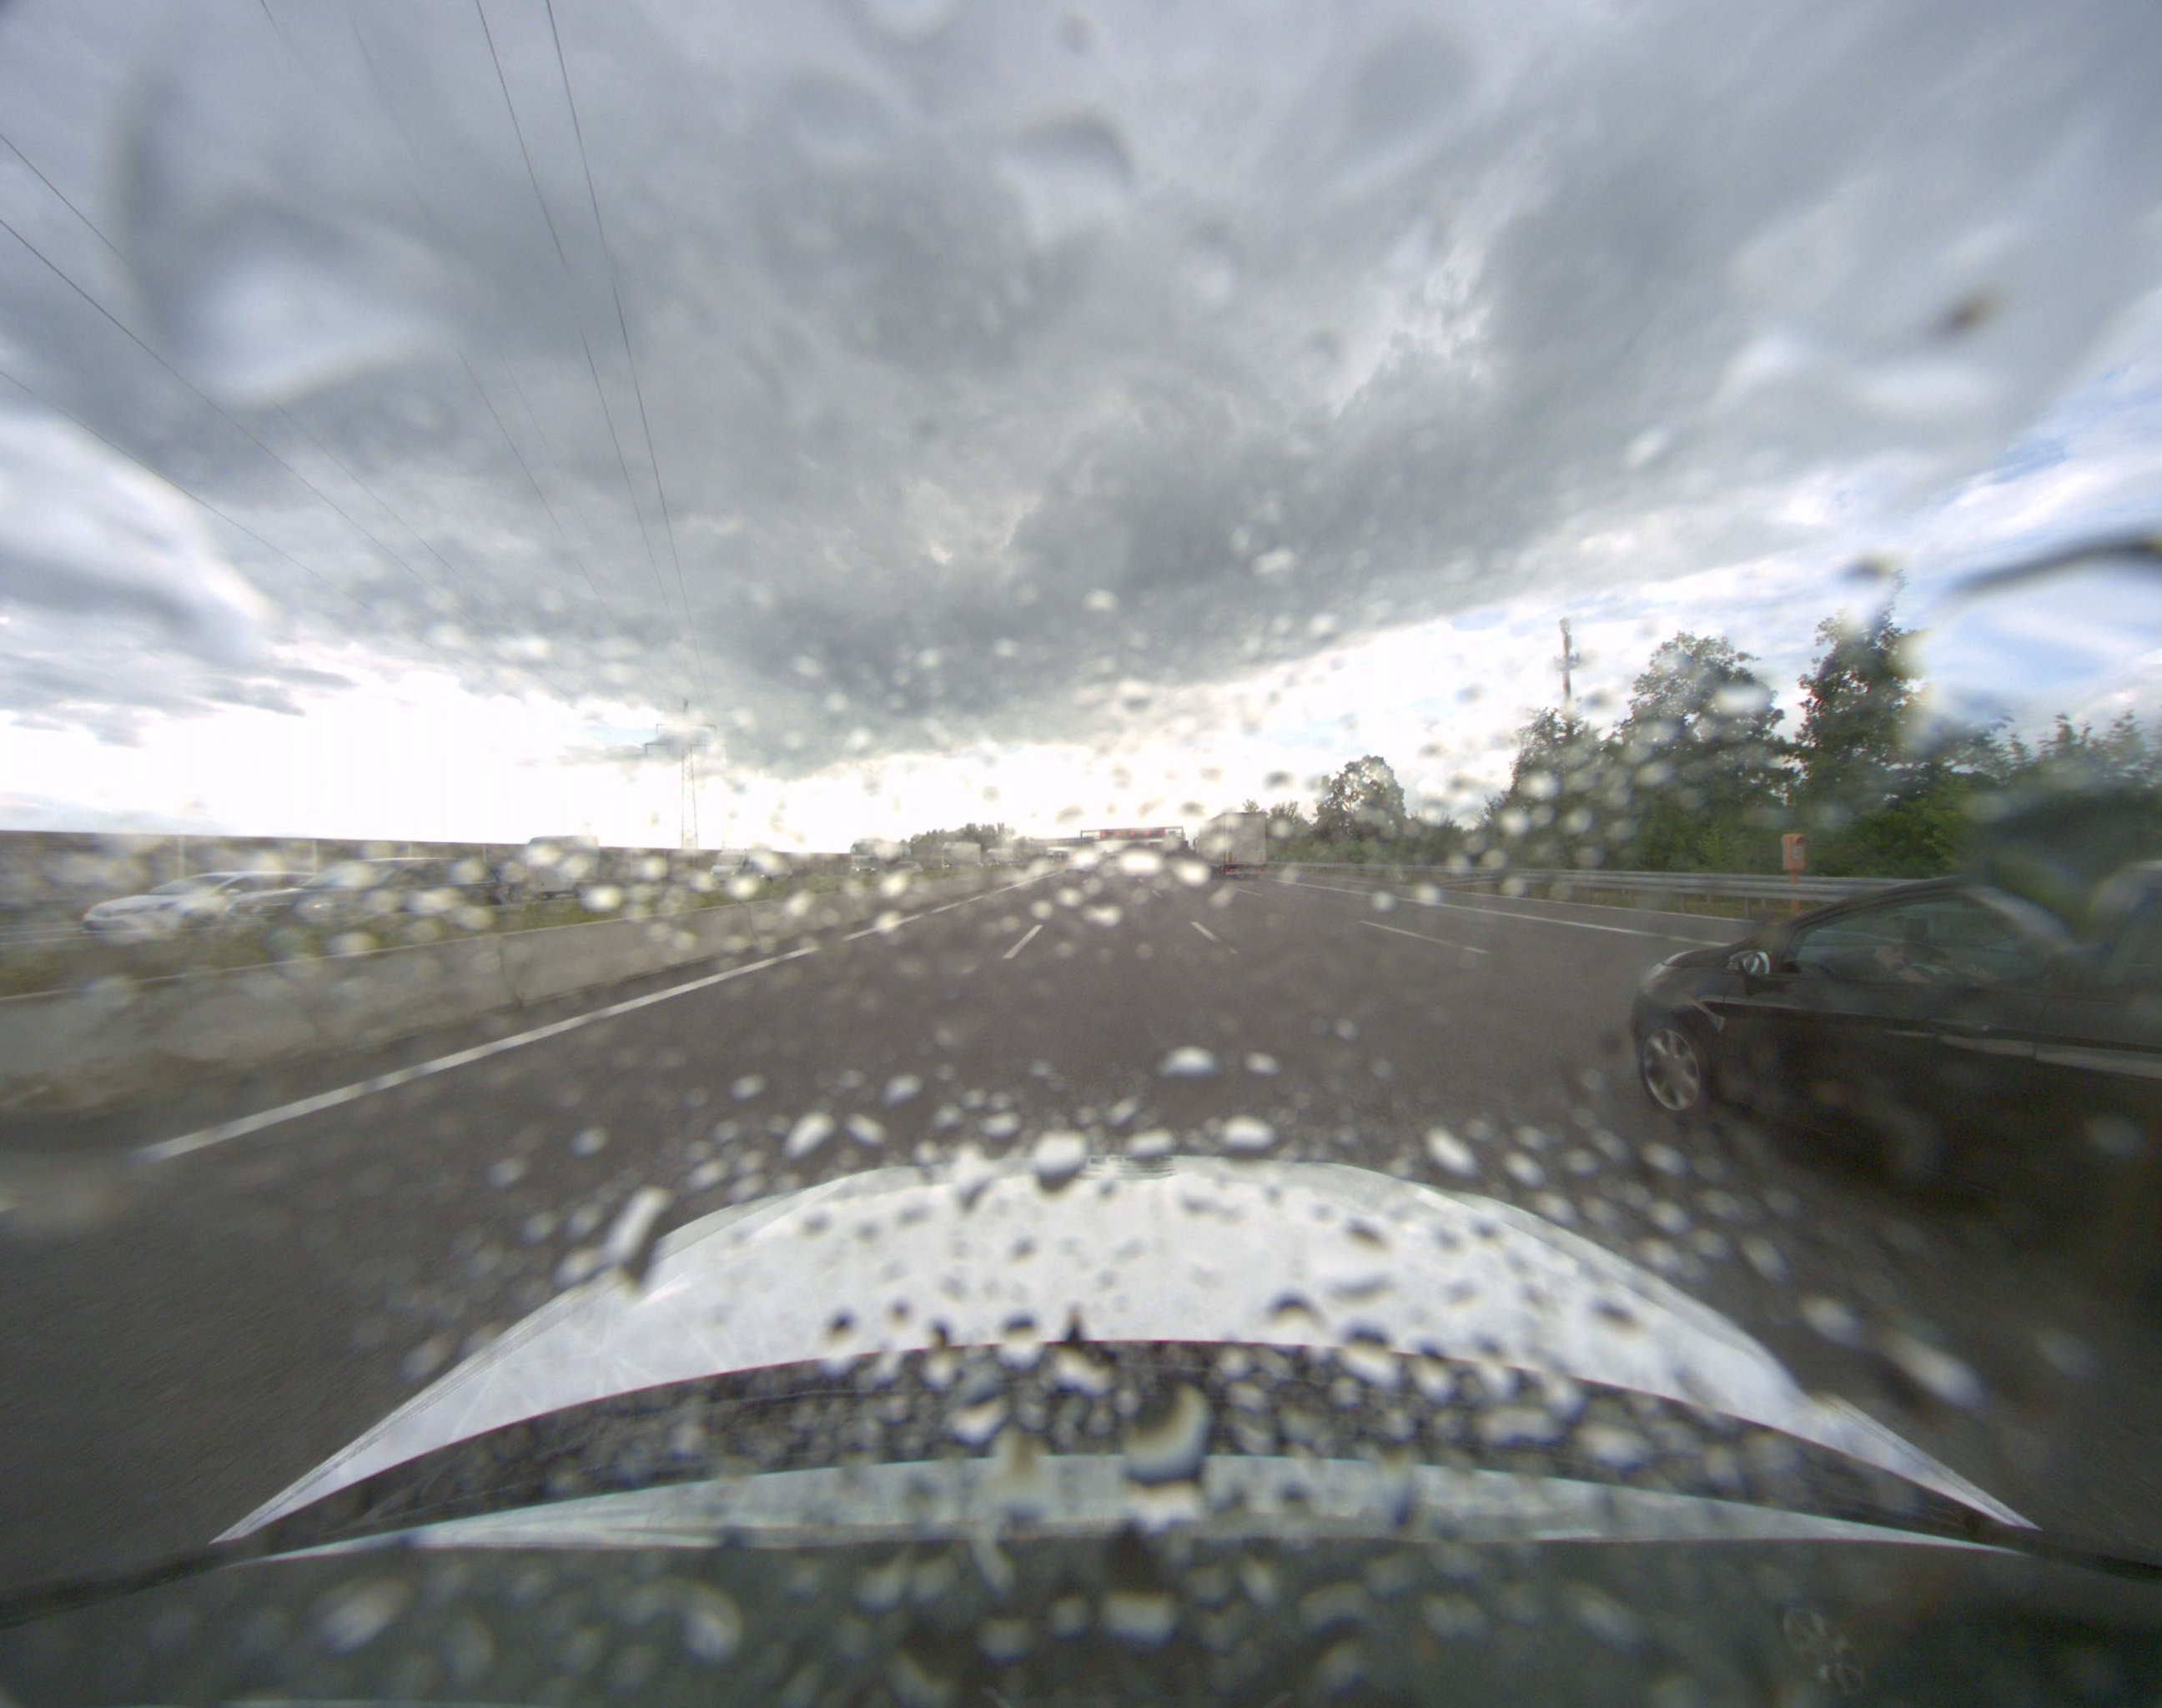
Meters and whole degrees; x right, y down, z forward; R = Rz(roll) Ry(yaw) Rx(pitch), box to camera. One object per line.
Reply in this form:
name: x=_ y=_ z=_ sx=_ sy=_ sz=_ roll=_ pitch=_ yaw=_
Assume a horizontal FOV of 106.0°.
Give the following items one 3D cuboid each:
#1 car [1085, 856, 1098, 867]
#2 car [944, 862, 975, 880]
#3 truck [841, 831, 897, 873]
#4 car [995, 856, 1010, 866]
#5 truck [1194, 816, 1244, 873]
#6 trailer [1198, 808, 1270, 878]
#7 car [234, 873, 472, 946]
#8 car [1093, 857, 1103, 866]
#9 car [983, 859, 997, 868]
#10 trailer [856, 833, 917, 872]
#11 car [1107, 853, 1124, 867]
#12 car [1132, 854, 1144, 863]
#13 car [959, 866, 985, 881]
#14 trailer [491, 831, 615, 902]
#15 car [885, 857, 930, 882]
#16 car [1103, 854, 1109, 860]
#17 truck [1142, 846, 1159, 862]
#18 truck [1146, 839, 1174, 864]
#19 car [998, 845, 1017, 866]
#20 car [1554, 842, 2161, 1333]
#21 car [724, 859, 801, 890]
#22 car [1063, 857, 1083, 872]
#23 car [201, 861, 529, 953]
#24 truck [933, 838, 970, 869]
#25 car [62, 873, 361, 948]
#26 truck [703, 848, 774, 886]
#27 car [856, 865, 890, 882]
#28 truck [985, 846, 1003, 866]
car: x=1.501 y=0.991 z=112.393 sx=1.766 sy=1.441 sz=4.056 roll=-1 pitch=0 yaw=1
car: x=-13.957 y=1.946 z=94.198 sx=2.270 sy=1.968 sz=6.092 roll=0 pitch=0 yaw=4
truck: x=-22.736 y=-0.198 z=87.838 sx=3.646 sy=4.319 sz=8.241 roll=0 pitch=0 yaw=2
car: x=-12.213 y=1.051 z=127.467 sx=1.781 sy=1.562 sz=4.566 roll=0 pitch=0 yaw=1
truck: x=10.257 y=-0.664 z=61.171 sx=2.949 sy=4.020 sz=6.594 roll=-1 pitch=0 yaw=3
trailer: x=9.894 y=-0.640 z=54.374 sx=2.948 sy=4.020 sz=14.130 roll=-1 pitch=0 yaw=3
car: x=-16.941 y=1.224 z=19.296 sx=1.759 sy=1.454 sz=4.234 roll=0 pitch=0 yaw=1
car: x=3.182 y=1.370 z=150.397 sx=1.766 sy=1.441 sz=4.055 roll=-1 pitch=0 yaw=1
car: x=-15.712 y=1.611 z=140.169 sx=1.781 sy=1.591 sz=4.387 roll=0 pitch=0 yaw=2
trailer: x=-22.487 y=-0.143 z=95.147 sx=3.646 sy=4.237 sz=12.473 roll=0 pitch=0 yaw=2
car: x=3.702 y=0.651 z=87.981 sx=1.766 sy=1.441 sz=4.056 roll=-1 pitch=0 yaw=1
car: x=9.228 y=0.670 z=132.154 sx=1.828 sy=1.441 sz=4.058 roll=-1 pitch=0 yaw=3
car: x=-10.630 y=1.883 z=79.514 sx=1.781 sy=1.454 sz=4.566 roll=0 pitch=0 yaw=1
trailer: x=-23.390 y=0.543 z=36.363 sx=2.240 sy=2.962 sz=4.901 roll=0 pitch=0 yaw=1
car: x=-11.557 y=0.995 z=54.537 sx=1.987 sy=1.526 sz=4.740 roll=-1 pitch=0 yaw=0
car: x=6.729 y=0.753 z=218.912 sx=1.765 sy=1.441 sz=4.058 roll=-1 pitch=0 yaw=3
truck: x=19.229 y=-0.038 z=226.486 sx=4.226 sy=4.176 sz=11.998 roll=0 pitch=0 yaw=3
truck: x=14.168 y=-0.422 z=147.350 sx=4.164 sy=4.288 sz=12.619 roll=0 pitch=0 yaw=2
car: x=-14.555 y=0.286 z=161.654 sx=2.971 sy=4.150 sz=6.045 roll=0 pitch=0 yaw=2
car: x=3.920 y=0.683 z=3.956 sx=1.442 sy=1.441 sz=3.164 roll=-1 pitch=0 yaw=1
car: x=-16.351 y=1.017 z=42.107 sx=1.958 sy=1.454 sz=4.944 roll=0 pitch=0 yaw=1
car: x=-0.711 y=0.986 z=78.411 sx=1.766 sy=1.441 sz=3.875 roll=-1 pitch=0 yaw=1
car: x=-13.206 y=0.877 z=15.584 sx=1.820 sy=1.454 sz=4.944 roll=0 pitch=0 yaw=1
truck: x=-17.328 y=-0.103 z=109.643 sx=3.645 sy=4.048 sz=6.529 roll=0 pitch=0 yaw=3
car: x=-20.262 y=1.233 z=19.407 sx=1.759 sy=1.454 sz=4.944 roll=0 pitch=0 yaw=1
truck: x=-23.379 y=0.886 z=55.932 sx=2.094 sy=2.451 sz=6.266 roll=0 pitch=0 yaw=2
car: x=-18.310 y=1.700 z=71.821 sx=1.781 sy=1.469 sz=4.566 roll=0 pitch=0 yaw=1
truck: x=-18.451 y=0.427 z=173.702 sx=2.889 sy=4.116 sz=6.625 roll=0 pitch=0 yaw=2
